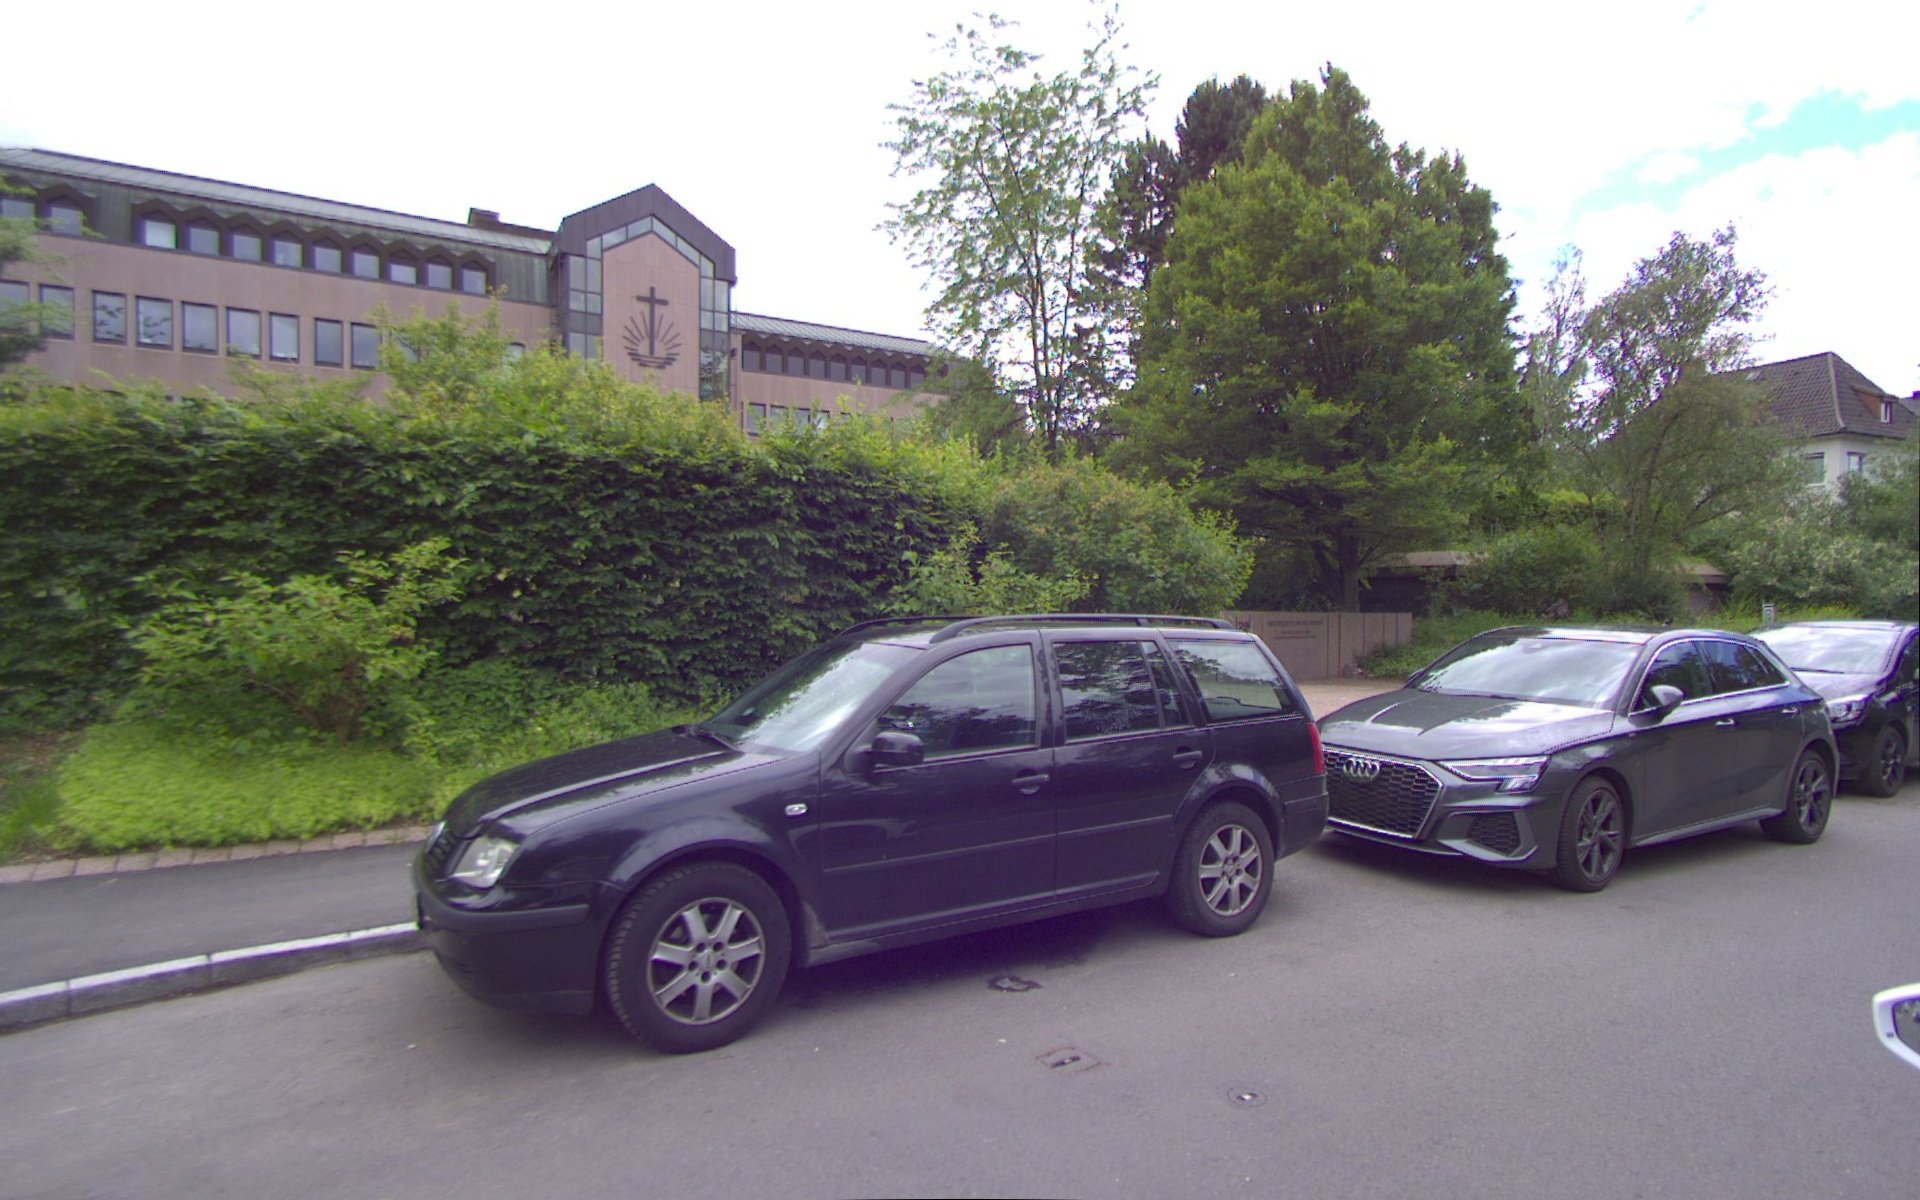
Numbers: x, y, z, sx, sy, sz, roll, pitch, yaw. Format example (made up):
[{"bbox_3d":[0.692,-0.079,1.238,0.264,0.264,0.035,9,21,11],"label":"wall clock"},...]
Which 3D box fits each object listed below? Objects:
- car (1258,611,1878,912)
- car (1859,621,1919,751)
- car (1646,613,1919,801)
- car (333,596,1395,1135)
[{"bbox_3d":[4.263,0.850,6.866,4.441,1.502,1.699,1,-1,-30],"label":"car"},{"bbox_3d":[12.749,0.997,12.167,4.302,1.451,1.616,1,-1,-32],"label":"car"},{"bbox_3d":[8.557,0.896,9.760,3.953,1.502,1.616,1,-1,-30],"label":"car"},{"bbox_3d":[-0.163,0.786,4.722,4.638,1.502,1.674,1,-1,-31],"label":"car"}]
